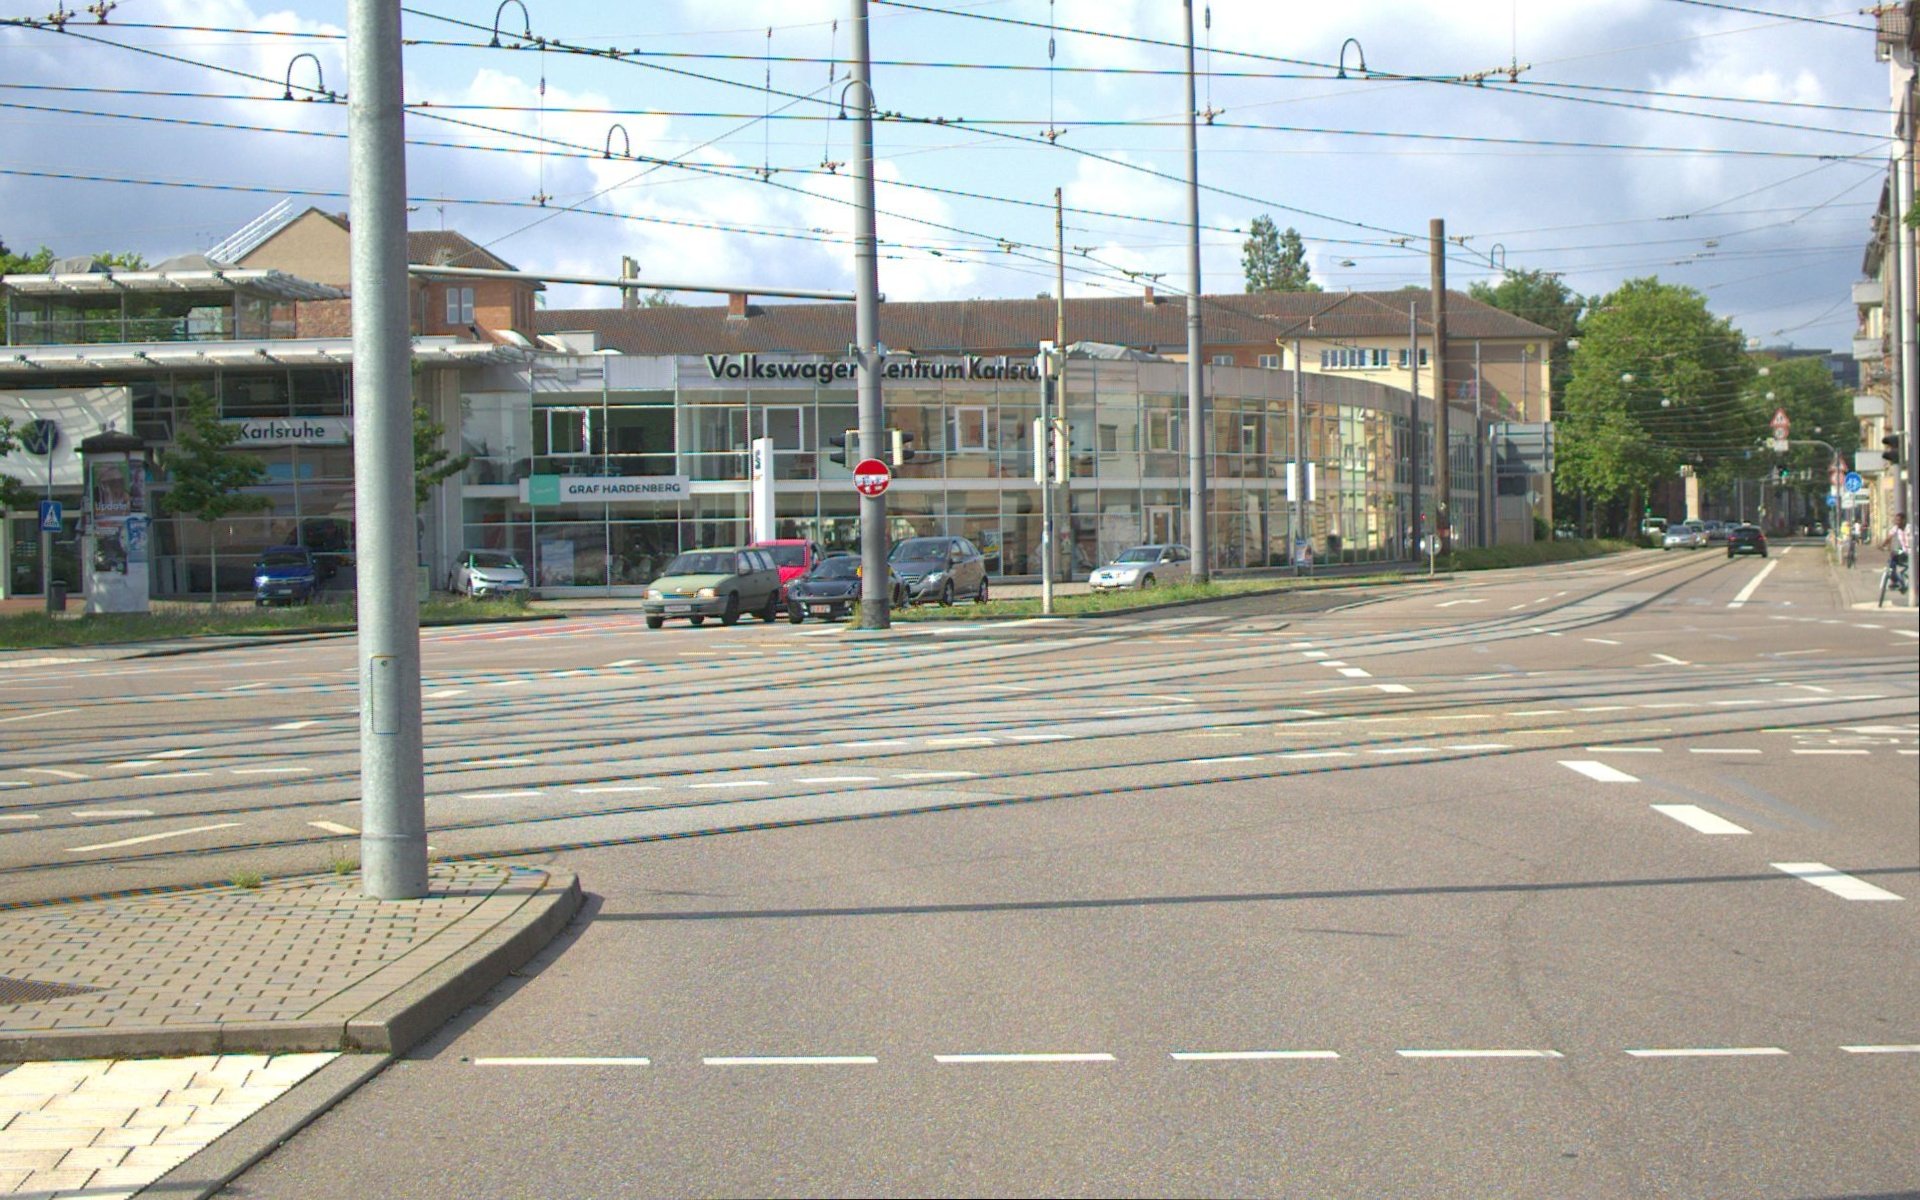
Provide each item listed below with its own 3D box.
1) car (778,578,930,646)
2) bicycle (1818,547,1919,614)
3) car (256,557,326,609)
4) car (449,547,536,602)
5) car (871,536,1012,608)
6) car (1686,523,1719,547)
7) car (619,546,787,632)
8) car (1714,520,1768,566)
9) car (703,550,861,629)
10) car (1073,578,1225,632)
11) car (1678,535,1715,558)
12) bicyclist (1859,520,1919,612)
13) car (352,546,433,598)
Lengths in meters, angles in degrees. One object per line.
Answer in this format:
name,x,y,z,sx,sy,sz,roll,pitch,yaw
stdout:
car,-1.874,0.190,61.990,1.622,1.157,3.997,1,1,15
bicycle,17.181,-0.371,63.023,2.671,1.166,0.901,-1,1,-9
car,-19.317,-0.497,99.408,1.919,1.440,4.001,-1,1,-10
car,-13.695,-0.766,100.828,1.919,1.546,4.000,-1,1,1
car,-0.381,-0.631,77.067,1.995,1.546,3.996,1,1,18
car,46.736,-4.071,216.344,1.994,1.486,3.998,0,1,12
car,-4.636,-0.215,62.601,1.822,1.508,3.997,1,1,15
car,35.099,-2.575,154.434,1.995,2.007,3.997,-1,1,18
car,-3.524,-0.220,68.771,1.995,1.514,3.997,1,1,15
car,5.360,0.124,97.044,1.780,1.459,4.470,1,1,44
car,43.261,-3.151,202.063,1.994,1.327,3.998,-1,1,10
bicyclist,17.198,-0.627,62.926,1.193,1.652,0.786,-1,1,-9
car,-16.281,-0.823,98.792,1.919,1.440,4.001,-1,1,-4
